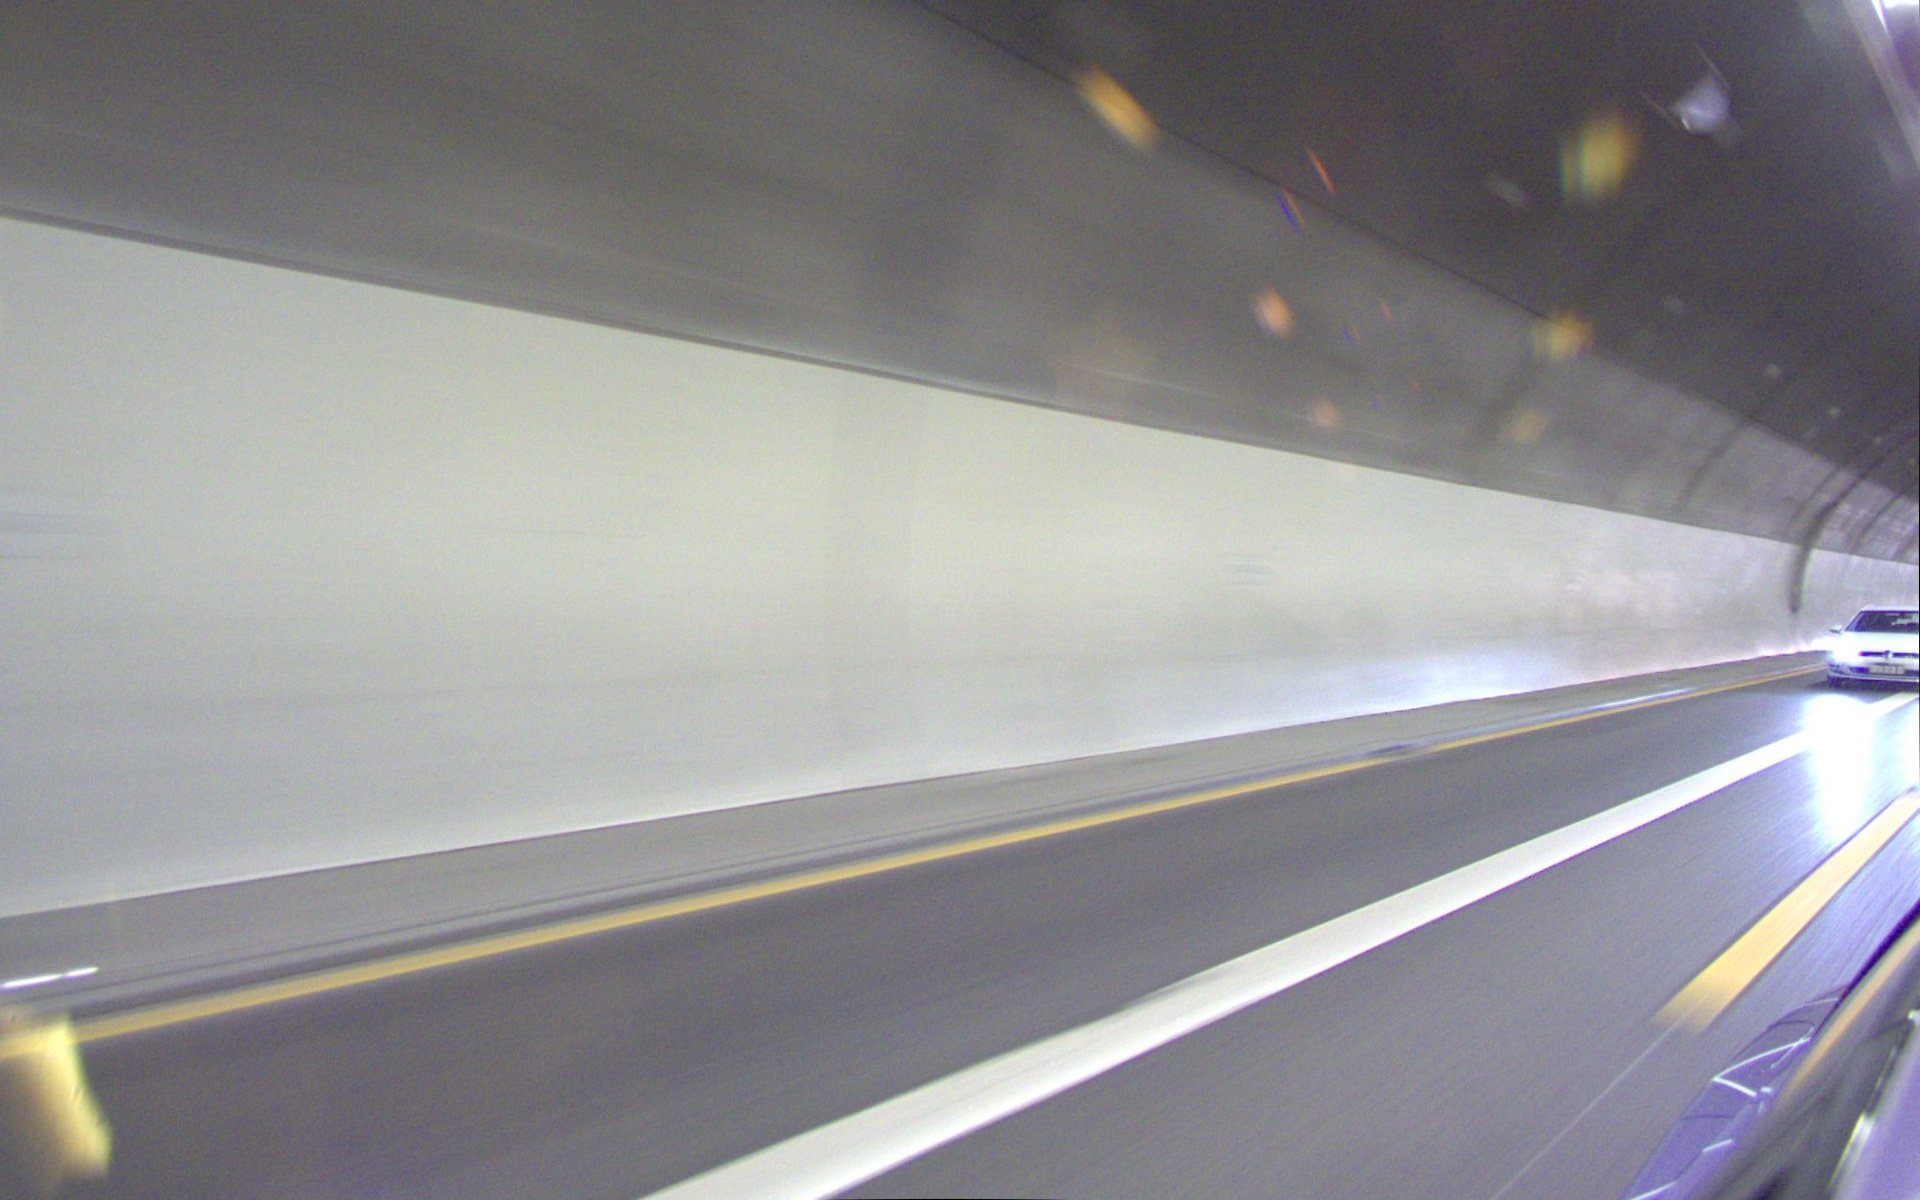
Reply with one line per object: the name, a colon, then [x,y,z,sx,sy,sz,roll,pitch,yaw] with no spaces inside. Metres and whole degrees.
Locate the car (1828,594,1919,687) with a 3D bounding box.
car: [16.946,0.665,17.885,3.962,1.479,1.801,0,1,-40]
